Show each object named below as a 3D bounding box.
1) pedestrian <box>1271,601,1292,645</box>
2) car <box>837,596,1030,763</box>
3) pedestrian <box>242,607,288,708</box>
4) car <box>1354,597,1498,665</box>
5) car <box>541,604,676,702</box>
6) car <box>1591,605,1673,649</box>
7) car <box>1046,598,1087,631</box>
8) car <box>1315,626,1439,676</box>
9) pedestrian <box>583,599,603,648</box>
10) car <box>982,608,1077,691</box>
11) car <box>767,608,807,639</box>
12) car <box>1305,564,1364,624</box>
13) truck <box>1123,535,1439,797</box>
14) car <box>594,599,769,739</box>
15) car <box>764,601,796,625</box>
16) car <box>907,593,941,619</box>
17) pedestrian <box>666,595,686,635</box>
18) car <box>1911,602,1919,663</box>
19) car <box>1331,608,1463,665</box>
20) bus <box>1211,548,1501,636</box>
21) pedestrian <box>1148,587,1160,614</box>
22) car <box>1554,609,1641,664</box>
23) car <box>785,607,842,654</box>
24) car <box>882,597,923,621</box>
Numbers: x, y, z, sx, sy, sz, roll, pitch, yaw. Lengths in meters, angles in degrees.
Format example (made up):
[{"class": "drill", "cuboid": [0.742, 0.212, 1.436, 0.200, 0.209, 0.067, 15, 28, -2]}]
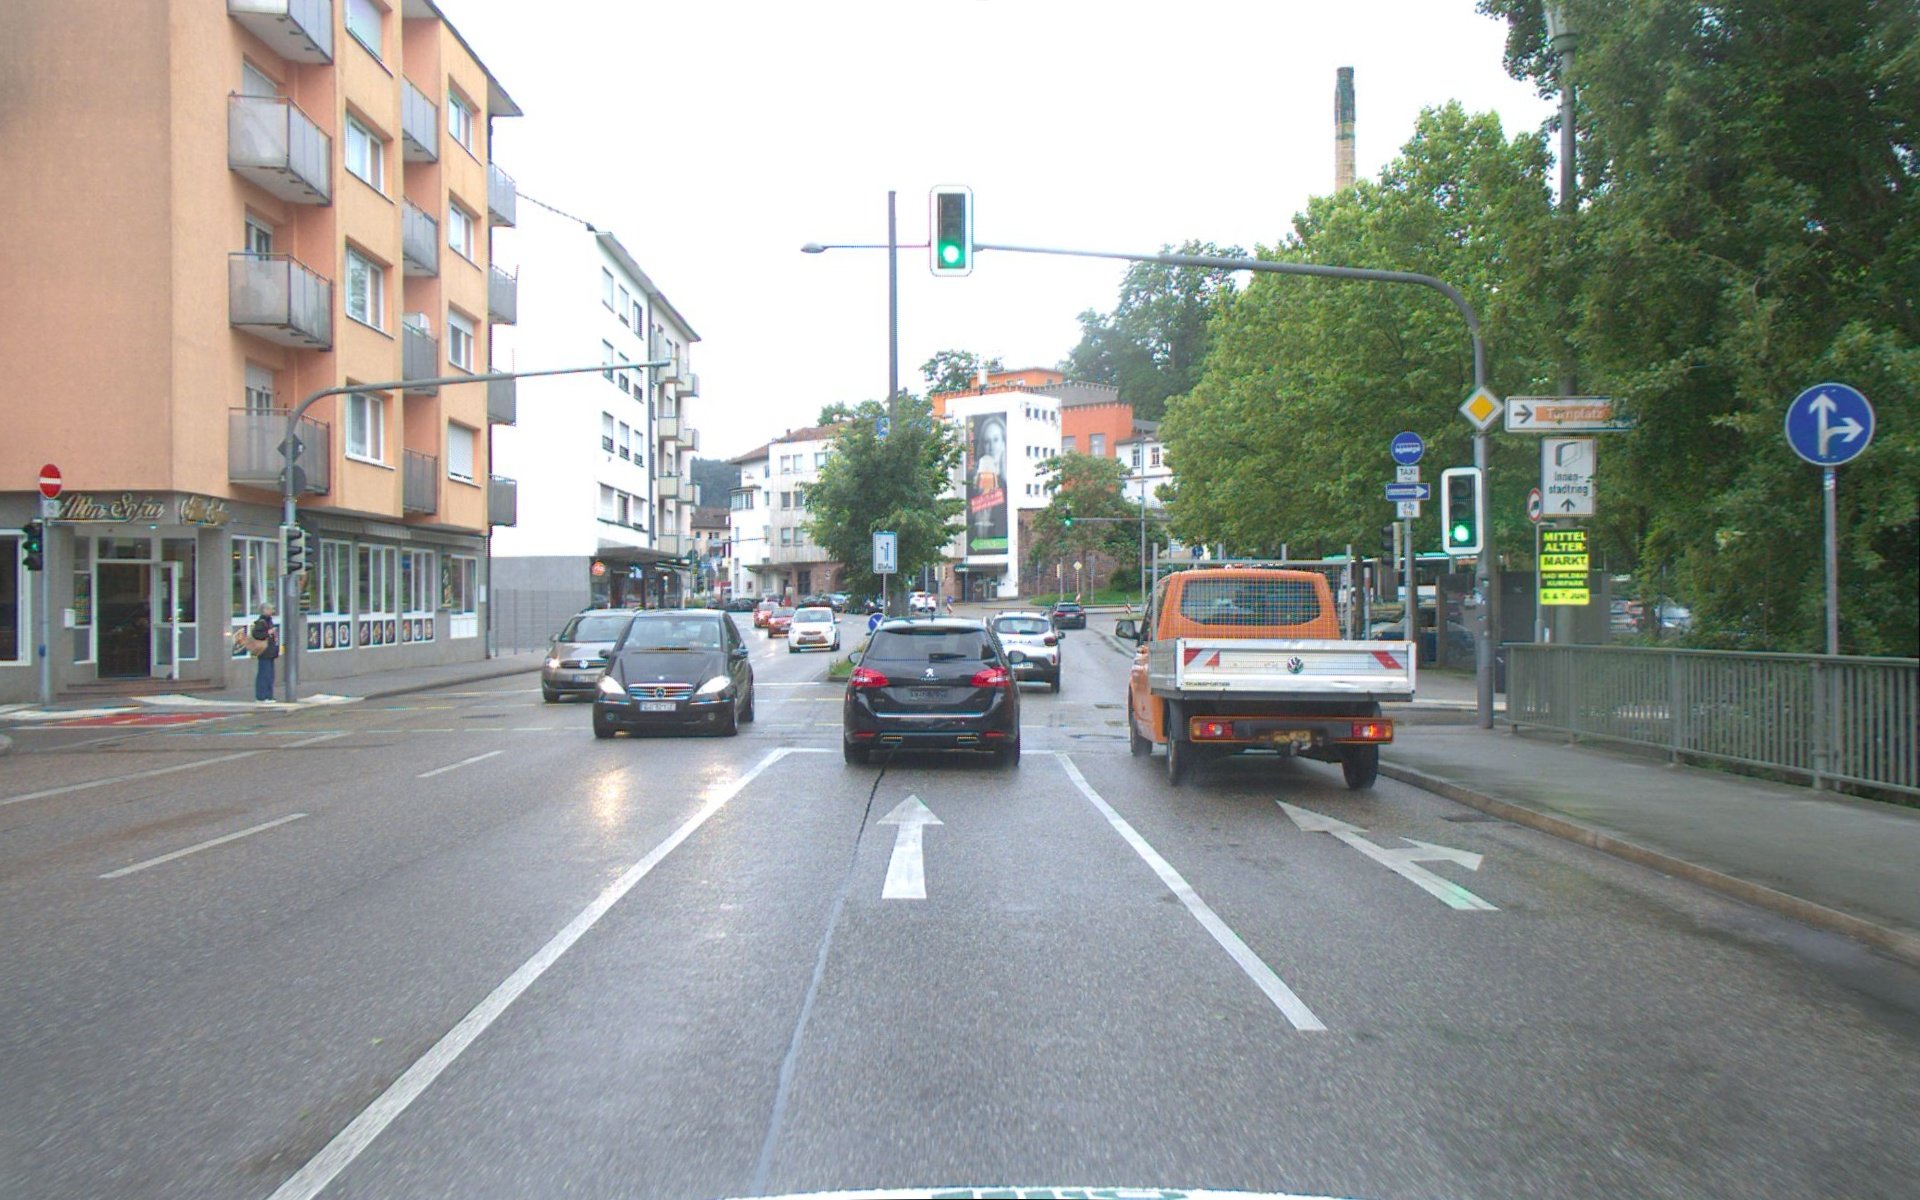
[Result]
[{"class": "pedestrian", "cuboid": [12.869, 0.927, 66.158, 0.709, 1.730, 0.623, 1, 0, 0]}, {"class": "car", "cuboid": [-0.191, 0.758, 17.387, 1.758, 1.509, 4.001, 1, -1, 2]}, {"class": "pedestrian", "cuboid": [-12.248, 1.000, 29.157, 0.519, 1.757, 0.649, 0, 0, 2]}, {"class": "car", "cuboid": [14.382, 0.929, 51.199, 3.904, 1.958, 1.970, 1, 0, 2]}, {"class": "car", "cuboid": [-6.345, 0.912, 30.235, 1.701, 1.629, 3.918, 0, 0, -2]}, {"class": "car", "cuboid": [29.263, 1.221, 72.107, 1.865, 1.767, 3.722, 3, -2, -4]}, {"class": "car", "cuboid": [5.775, 0.809, 90.004, 1.613, 1.592, 3.596, 3, -2, -5]}, {"class": "car", "cuboid": [14.732, 1.802, 58.556, 3.904, 1.535, 1.744, 2, 0, 2]}, {"class": "pedestrian", "cuboid": [-14.263, 0.903, 64.277, 0.626, 1.893, 0.523, 1, 0, -3]}, {"class": "car", "cuboid": [1.354, 0.932, 32.719, 1.757, 1.509, 4.001, -1, 0, 2]}, {"class": "car", "cuboid": [-8.532, 1.149, 81.836, 1.631, 1.424, 3.875, -1, 0, -2]}, {"class": "car", "cuboid": [19.291, -0.291, 85.334, 2.030, 3.022, 4.227, 1, 0, 0]}, {"class": "truck", "cuboid": [2.820, 0.515, 15.690, 2.078, 2.060, 4.716, 1, 0, 0]}, {"class": "car", "cuboid": [-3.609, 0.841, 22.076, 1.701, 1.629, 3.918, -2, 0, -1]}, {"class": "car", "cuboid": [-10.894, 0.760, 100.351, 1.656, 1.426, 3.660, 0, 0, -2]}, {"class": "car", "cuboid": [-2.690, 0.410, 122.417, 1.956, 1.853, 3.992, 1, 0, -9]}, {"class": "pedestrian", "cuboid": [-14.566, 0.769, 84.954, 0.720, 2.049, 0.650, 4, -3, -34]}, {"class": "car", "cuboid": [28.069, 0.881, 44.492, 4.040, 1.649, 1.804, 0, 0, -5]}, {"class": "car", "cuboid": [14.666, 1.214, 55.636, 3.904, 1.678, 1.918, 2, 0, 2]}, {"class": "bus", "cuboid": [24.836, -0.491, 104.435, 17.546, 5.302, 3.099, 1, 0, 1]}, {"class": "pedestrian", "cuboid": [12.308, 0.045, 104.756, 0.627, 1.693, 0.563, -1, 2, -2]}, {"class": "car", "cuboid": [25.458, 1.492, 66.170, 1.865, 2.049, 3.722, 3, -2, -4]}, {"class": "car", "cuboid": [-5.031, 1.031, 57.109, 1.620, 1.475, 3.543, -2, 0, -1]}, {"class": "car", "cuboid": [-4.171, 0.647, 119.780, 1.624, 1.591, 3.570, 3, -2, -26]}]
